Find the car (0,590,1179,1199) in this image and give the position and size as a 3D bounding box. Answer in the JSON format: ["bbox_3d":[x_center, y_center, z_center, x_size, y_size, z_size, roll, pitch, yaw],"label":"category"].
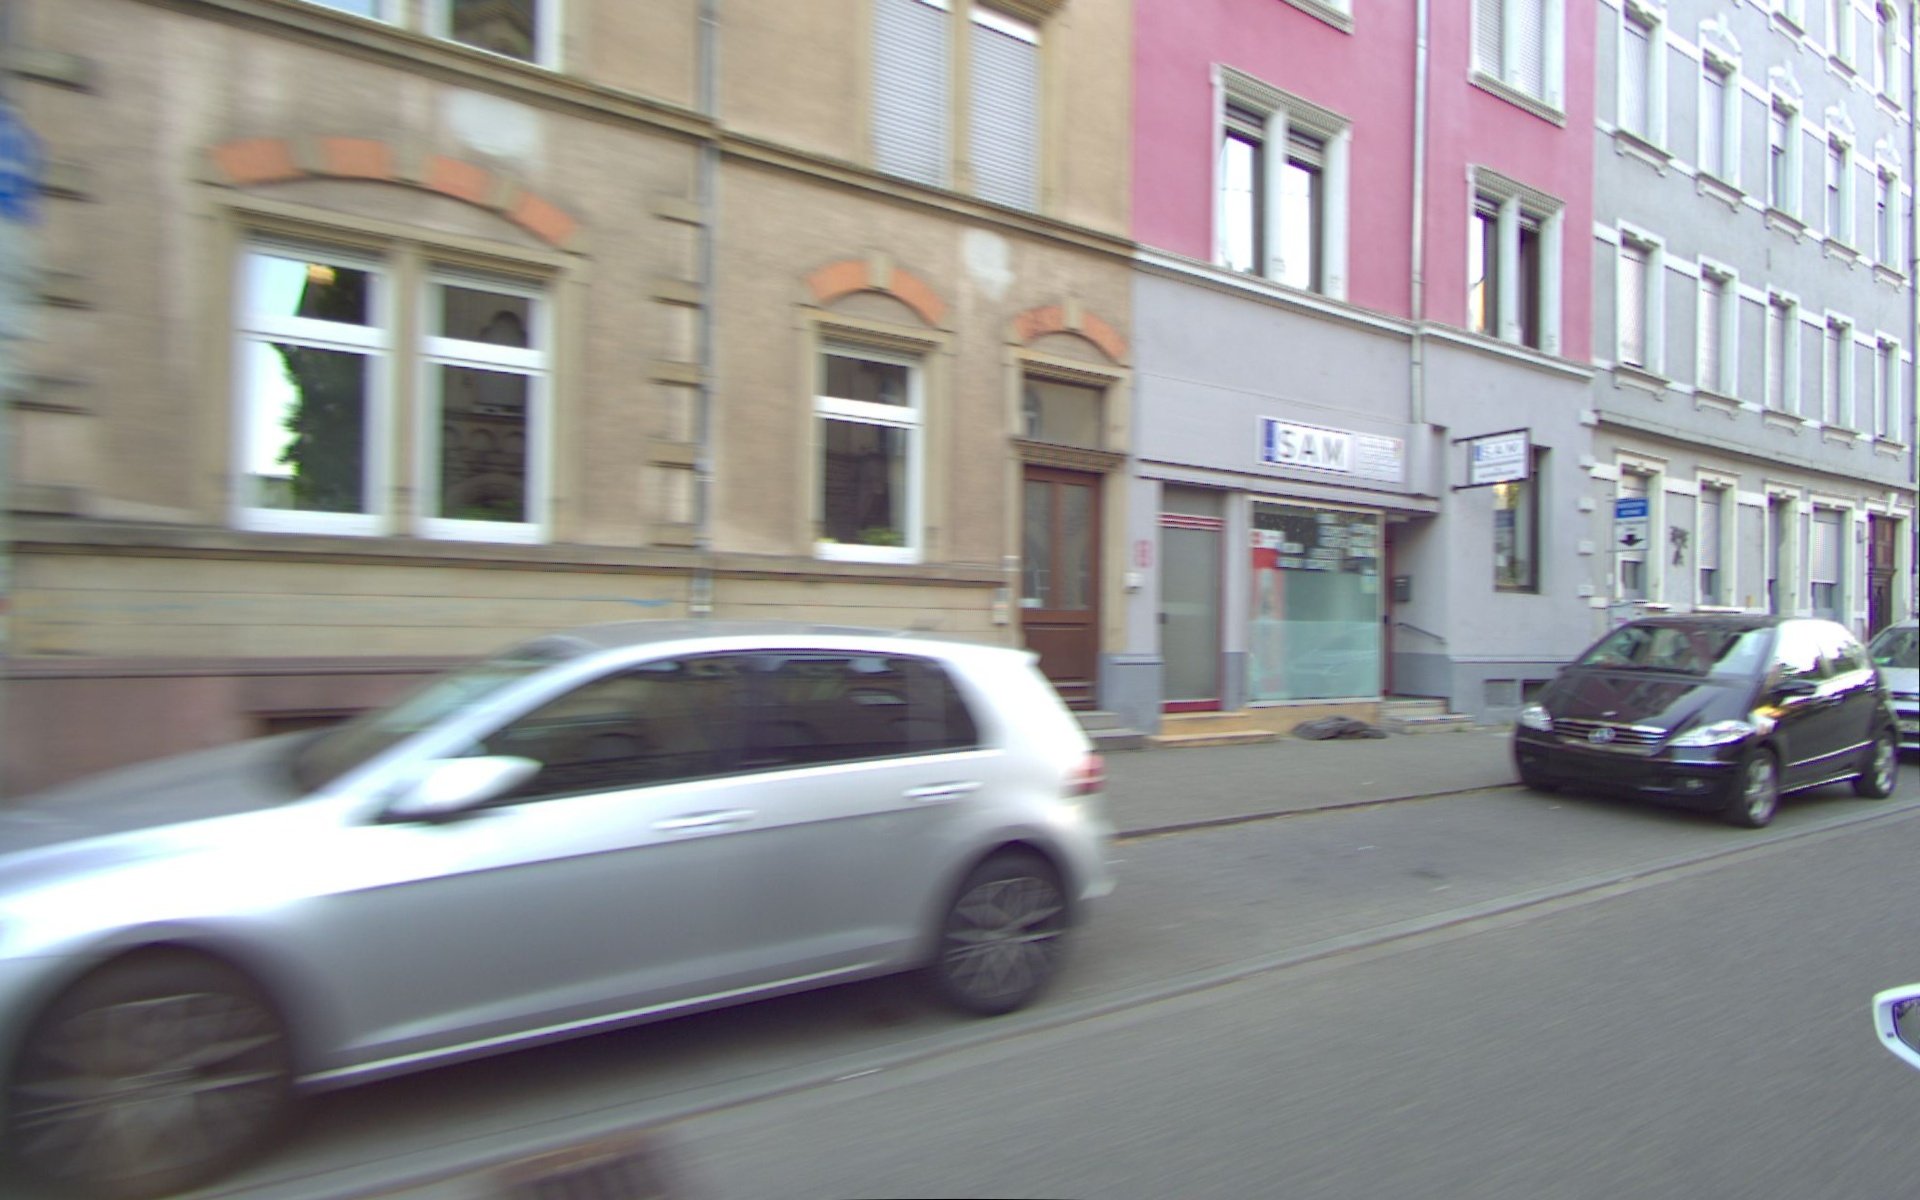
[{"bbox_3d":[-1.356,0.781,3.902,4.158,1.477,1.825,1,2,-31],"label":"car"}]

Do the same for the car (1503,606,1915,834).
[{"bbox_3d":[6.599,0.887,8.772,3.739,1.586,1.627,1,0,-32],"label":"car"}]

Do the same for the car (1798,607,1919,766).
[{"bbox_3d":[11.839,0.965,11.913,4.208,1.681,1.834,2,-1,-34],"label":"car"}]
